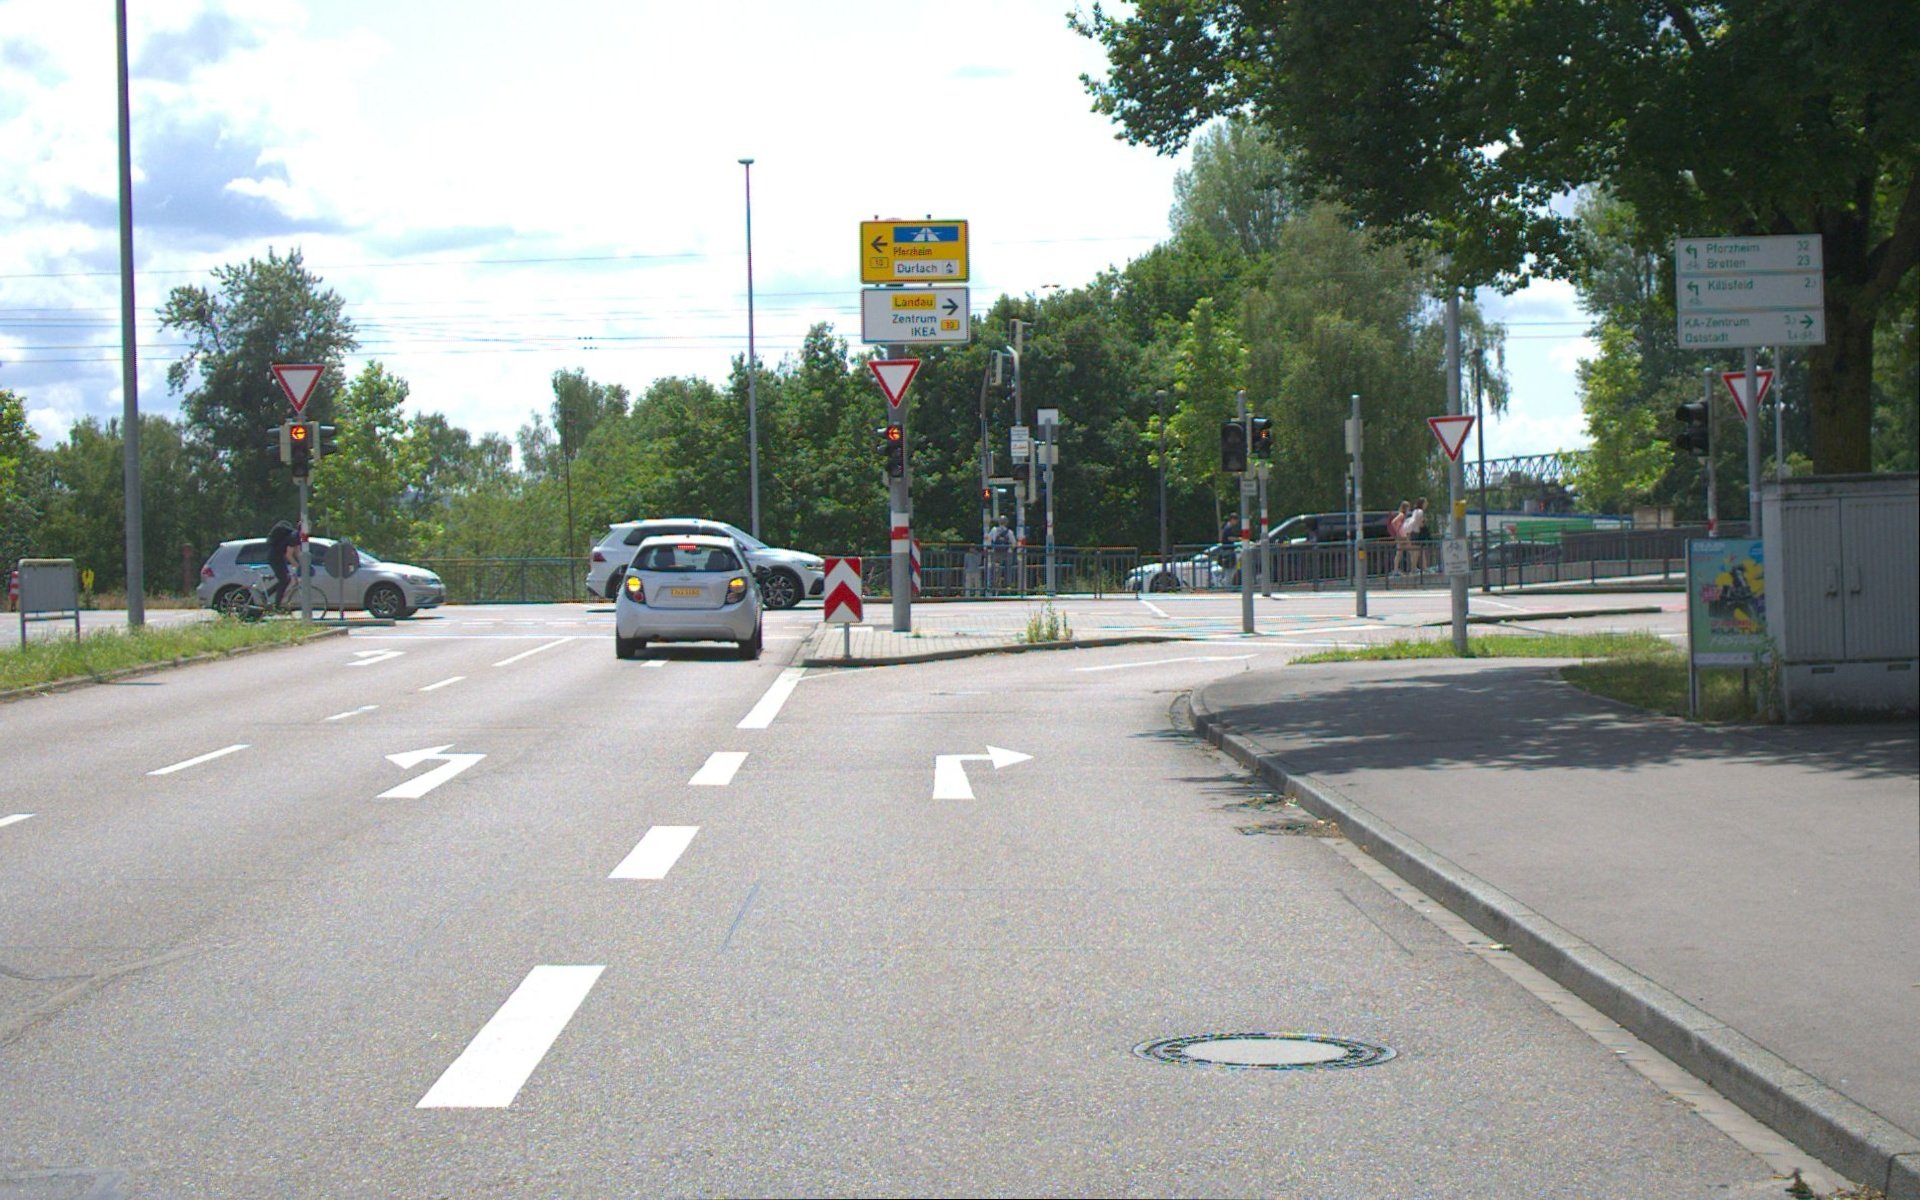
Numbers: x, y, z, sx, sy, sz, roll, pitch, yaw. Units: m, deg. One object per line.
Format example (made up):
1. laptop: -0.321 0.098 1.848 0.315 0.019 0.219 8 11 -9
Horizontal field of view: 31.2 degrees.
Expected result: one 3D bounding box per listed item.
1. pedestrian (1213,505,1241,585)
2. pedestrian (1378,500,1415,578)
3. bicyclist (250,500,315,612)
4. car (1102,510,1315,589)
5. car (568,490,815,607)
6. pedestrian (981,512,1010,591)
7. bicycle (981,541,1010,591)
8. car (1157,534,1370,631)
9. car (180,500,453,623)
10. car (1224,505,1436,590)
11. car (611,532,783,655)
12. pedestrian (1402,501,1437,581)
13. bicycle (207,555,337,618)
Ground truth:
1. pedestrian: 5.846 -1.200 75.218 0.523 1.715 0.730 -2 1 3
2. pedestrian: 9.709 -1.365 76.559 0.706 1.715 0.601 -2 1 2
3. bicyclist: -11.233 -0.733 57.021 0.921 1.840 0.611 -1 1 -1
4. car: 6.216 -1.271 86.407 5.117 1.802 2.000 -2 1 -1
5. car: -4.886 -0.938 63.062 4.348 1.982 2.000 -2 1 -1
6. pedestrian: 0.800 -1.092 77.064 0.611 1.763 0.672 -1 1 1
7. bicycle: 0.804 -0.775 77.104 0.619 1.084 1.722 -1 1 1
8. car: 6.080 -0.363 69.191 3.986 1.776 1.910 -2 1 -2
9. car: -11.158 -0.675 59.871 4.348 1.982 2.000 -2 1 -1
10. car: 8.613 -1.234 80.326 4.651 1.814 2.000 -2 1 -1
11. car: -3.280 -0.116 43.460 1.894 1.464 3.834 0 1 0
12. pedestrian: 10.144 -1.306 75.853 0.676 1.742 0.637 -1 2 2
13. bicycle: -11.410 -0.221 57.022 2.017 0.996 0.622 1 1 -1
